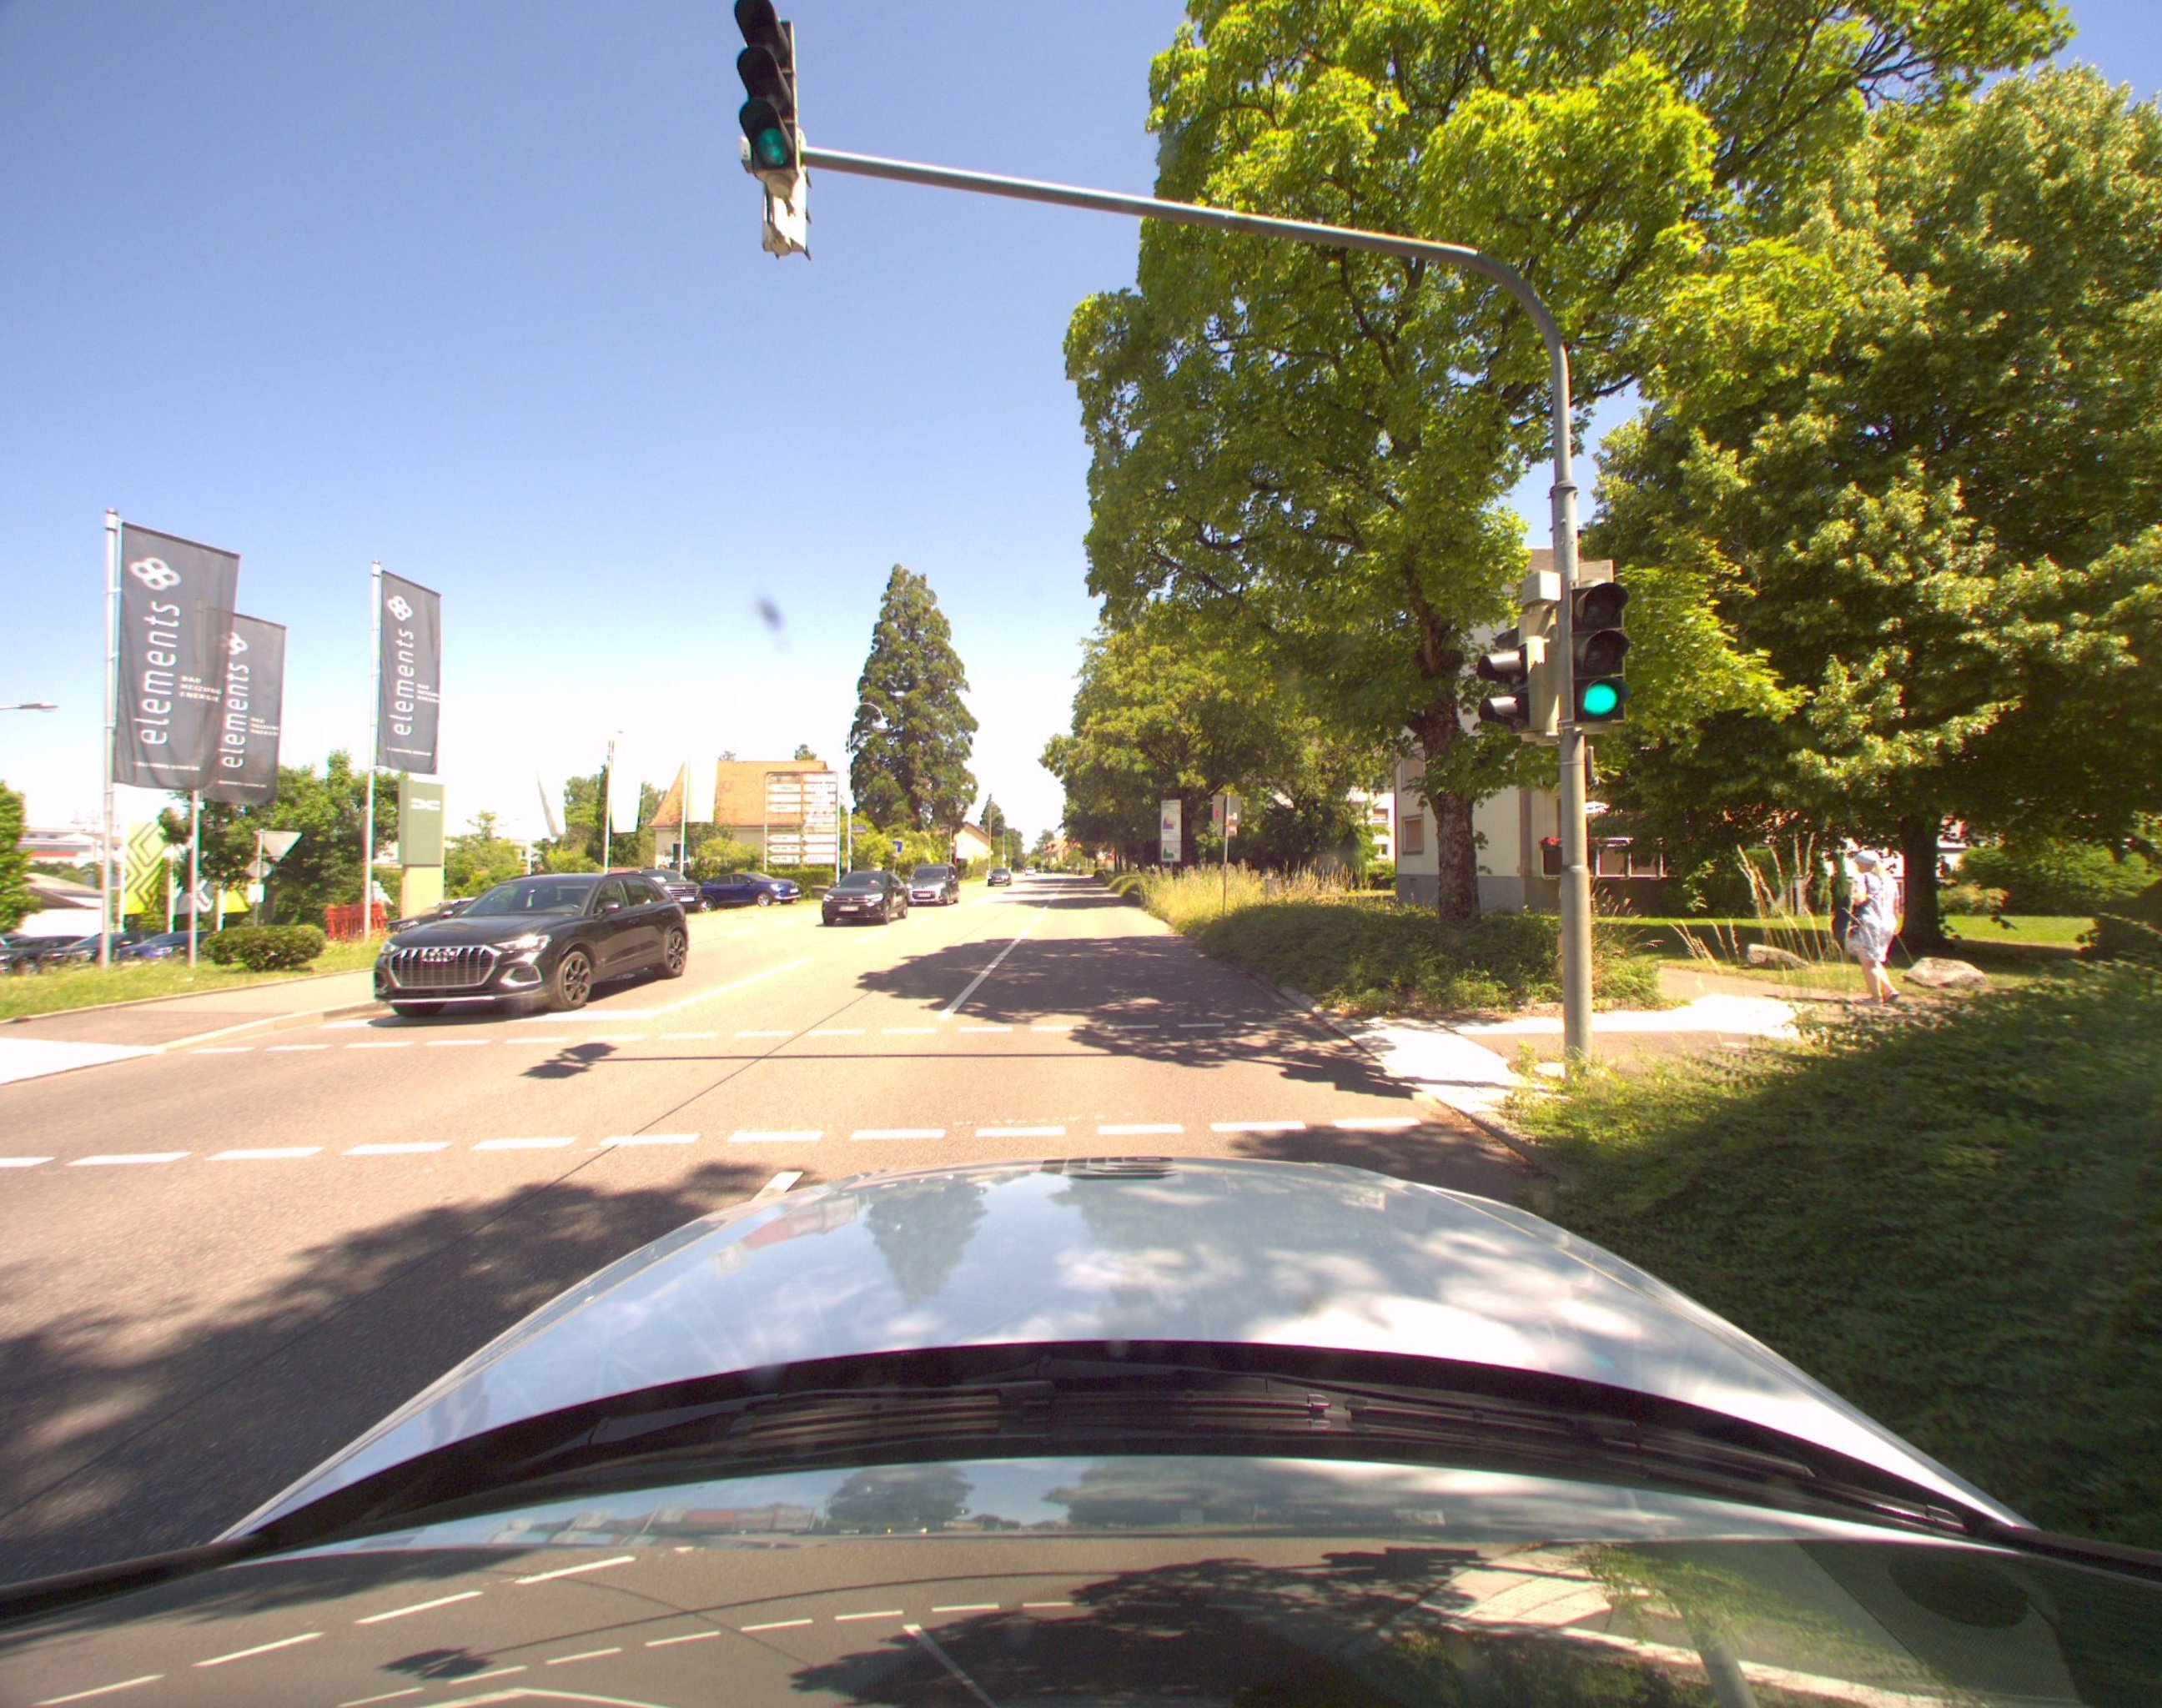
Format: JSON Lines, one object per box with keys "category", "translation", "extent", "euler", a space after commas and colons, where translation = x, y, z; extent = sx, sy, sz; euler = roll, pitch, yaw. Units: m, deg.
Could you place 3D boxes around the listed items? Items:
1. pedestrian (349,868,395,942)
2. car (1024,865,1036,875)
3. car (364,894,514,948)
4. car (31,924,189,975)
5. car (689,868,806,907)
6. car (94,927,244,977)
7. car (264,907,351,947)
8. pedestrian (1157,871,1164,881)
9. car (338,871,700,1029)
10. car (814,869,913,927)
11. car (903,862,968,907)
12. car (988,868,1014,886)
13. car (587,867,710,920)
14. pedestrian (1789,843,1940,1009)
{"category": "pedestrian", "translation": [-17.250, 1.231, 19.825], "extent": [0.538, 1.761, 0.706], "euler": [-2, -1, 28]}
{"category": "car", "translation": [-9.356, 2.957, 148.744], "extent": [1.907, 1.689, 4.123], "euler": [-1, -1, -1]}
{"category": "car", "translation": [-23.832, 2.415, 30.429], "extent": [1.795, 1.722, 4.106], "euler": [-1, -1, 16]}
{"category": "car", "translation": [-36.997, 3.592, 31.213], "extent": [1.753, 1.486, 3.984], "euler": [-1, -1, -12]}
{"category": "car", "translation": [-13.760, 1.381, 33.692], "extent": [4.108, 1.504, 1.783], "euler": [-1, -1, 11]}
{"category": "car", "translation": [-34.412, 3.655, 30.896], "extent": [1.646, 1.415, 3.857], "euler": [-1, -1, -7]}
{"category": "car", "translation": [-39.303, 3.652, 41.507], "extent": [1.816, 1.722, 4.059], "euler": [0, -1, -22]}
{"category": "pedestrian", "translation": [9.117, 2.493, 93.318], "extent": [0.701, 1.160, 0.755], "euler": [0, -1, 3]}
{"category": "car", "translation": [-6.768, 1.021, 10.515], "extent": [1.923, 1.555, 4.295], "euler": [-1, -1, -5]}
{"category": "car", "translation": [-6.204, 1.202, 23.688], "extent": [1.864, 1.507, 4.049], "euler": [-1, -1, -2]}
{"category": "car", "translation": [-6.127, 1.278, 34.730], "extent": [1.804, 1.762, 4.571], "euler": [-1, -2, 2]}
{"category": "car", "translation": [-6.940, 1.986, 70.752], "extent": [1.788, 1.536, 4.314], "euler": [-1, -1, 0]}
{"category": "car", "translation": [-16.668, 1.493, 31.380], "extent": [4.400, 1.727, 2.077], "euler": [-2, 3, 30]}
{"category": "pedestrian", "translation": [8.212, 0.723, 8.570], "extent": [0.717, 1.633, 0.849], "euler": [-1, -1, -7]}
